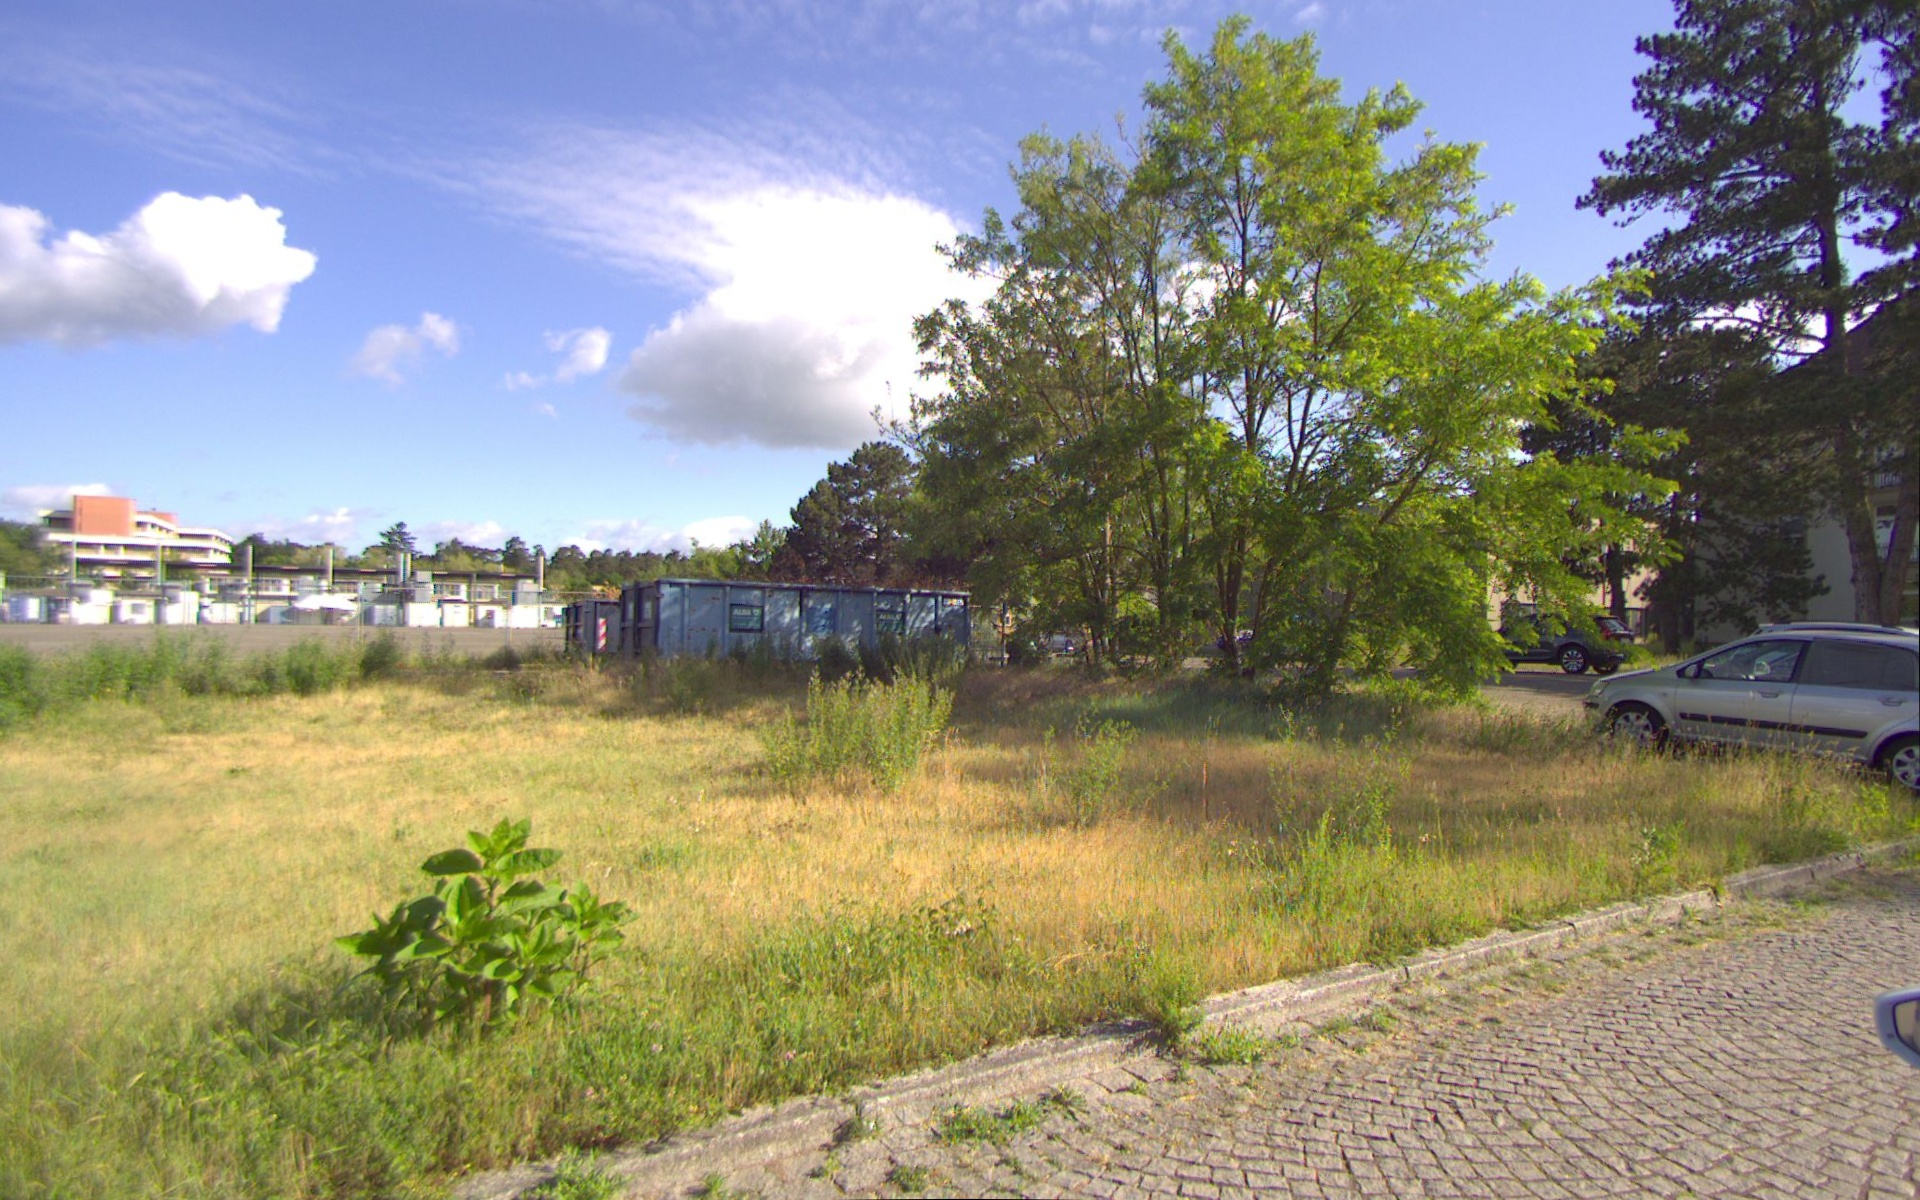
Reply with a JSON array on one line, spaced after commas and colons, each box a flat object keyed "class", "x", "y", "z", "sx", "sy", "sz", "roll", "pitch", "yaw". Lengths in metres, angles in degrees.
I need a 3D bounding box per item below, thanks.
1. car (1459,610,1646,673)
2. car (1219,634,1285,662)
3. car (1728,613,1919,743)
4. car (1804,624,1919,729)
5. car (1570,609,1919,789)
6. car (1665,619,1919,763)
[{"class": "car", "x": 16.565, "y": 1.118, "z": 28.291, "sx": 1.985, "sy": 1.630, "sz": 4.126, "roll": 1, "pitch": -1, "yaw": -29}, {"class": "car", "x": 19.166, "y": 3.149, "z": 65.923, "sx": 3.952, "sy": 1.802, "sz": 1.858, "roll": 2, "pitch": -1, "yaw": -28}, {"class": "car", "x": 13.379, "y": 1.100, "z": 14.013, "sx": 1.641, "sy": 1.637, "sz": 3.860, "roll": 1, "pitch": 1, "yaw": -31}, {"class": "car", "x": 15.631, "y": 1.243, "z": 15.213, "sx": 1.749, "sy": 1.516, "sz": 3.974, "roll": 1, "pitch": 1, "yaw": -25}, {"class": "car", "x": 8.985, "y": 0.962, "z": 10.877, "sx": 1.681, "sy": 1.548, "sz": 3.665, "roll": 1, "pitch": 1, "yaw": -32}, {"class": "car", "x": 11.225, "y": 1.096, "z": 12.258, "sx": 1.671, "sy": 1.464, "sz": 3.917, "roll": 1, "pitch": 2, "yaw": -31}]
